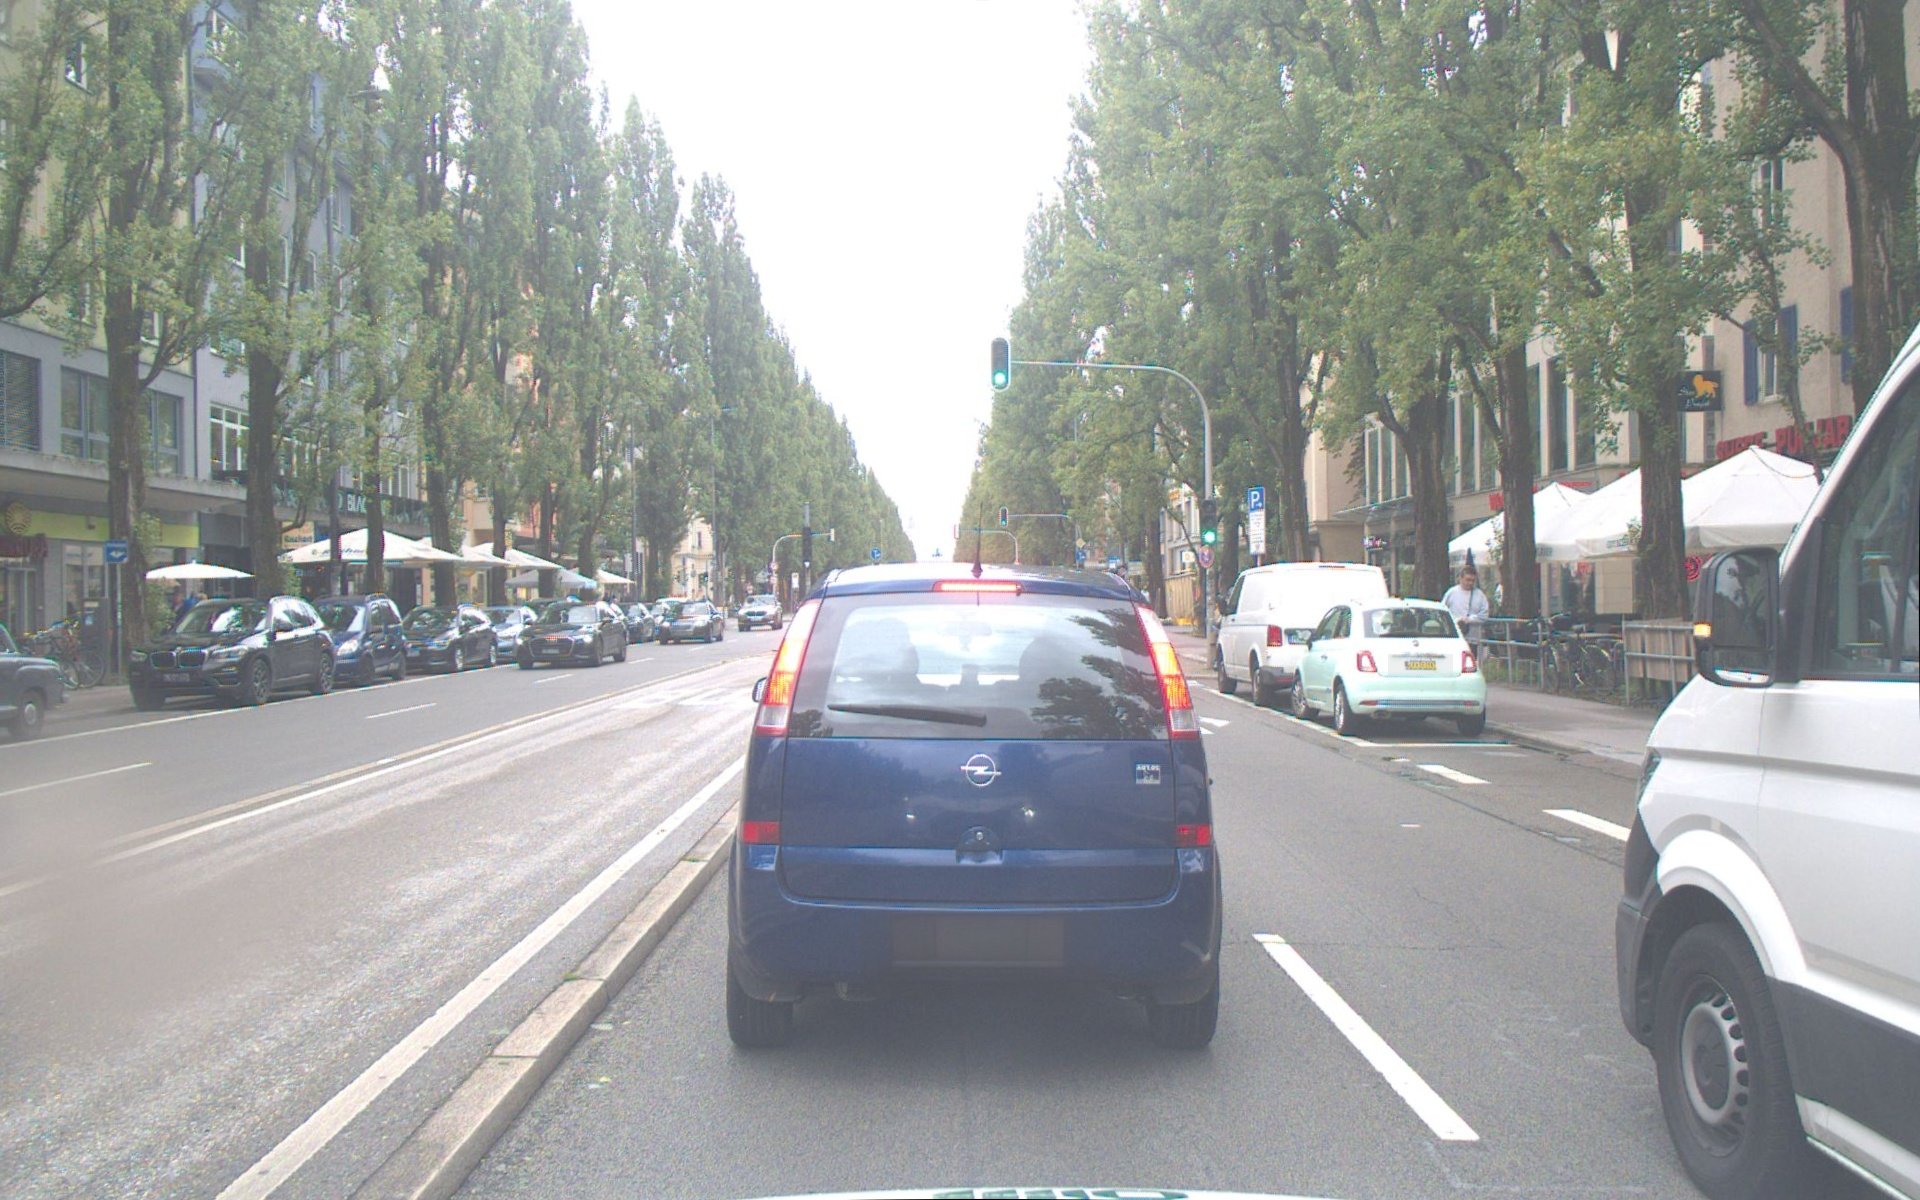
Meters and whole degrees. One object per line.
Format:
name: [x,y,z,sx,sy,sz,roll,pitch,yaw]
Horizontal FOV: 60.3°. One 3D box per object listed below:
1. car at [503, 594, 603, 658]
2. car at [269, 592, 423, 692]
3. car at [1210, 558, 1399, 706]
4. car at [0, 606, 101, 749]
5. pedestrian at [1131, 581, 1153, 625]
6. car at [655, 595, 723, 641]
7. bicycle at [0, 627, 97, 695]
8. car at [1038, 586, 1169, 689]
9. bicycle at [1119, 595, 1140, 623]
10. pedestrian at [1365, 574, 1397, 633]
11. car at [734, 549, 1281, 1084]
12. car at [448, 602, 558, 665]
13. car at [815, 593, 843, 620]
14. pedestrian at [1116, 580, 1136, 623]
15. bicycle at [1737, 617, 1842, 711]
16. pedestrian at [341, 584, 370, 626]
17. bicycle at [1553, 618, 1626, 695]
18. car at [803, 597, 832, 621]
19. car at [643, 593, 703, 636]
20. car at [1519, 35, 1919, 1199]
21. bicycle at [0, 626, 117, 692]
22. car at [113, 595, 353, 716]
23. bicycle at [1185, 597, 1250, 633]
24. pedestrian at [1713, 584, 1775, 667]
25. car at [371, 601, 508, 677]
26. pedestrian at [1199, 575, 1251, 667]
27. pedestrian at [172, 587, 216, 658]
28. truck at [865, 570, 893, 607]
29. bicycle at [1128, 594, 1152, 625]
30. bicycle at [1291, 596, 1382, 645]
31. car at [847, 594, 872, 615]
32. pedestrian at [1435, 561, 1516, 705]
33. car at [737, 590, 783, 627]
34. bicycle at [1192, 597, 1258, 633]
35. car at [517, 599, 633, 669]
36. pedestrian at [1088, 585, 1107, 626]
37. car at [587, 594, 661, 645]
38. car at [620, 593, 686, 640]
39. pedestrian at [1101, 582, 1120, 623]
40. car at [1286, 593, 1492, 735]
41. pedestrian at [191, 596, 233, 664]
car: [-11.900,0.722,48.638,1.828,1.694,4.400,-2,0,-1]
car: [-11.824,0.764,32.115,1.676,1.751,3.919,-2,0,-4]
car: [4.987,0.414,24.584,1.751,1.980,4.729,0,0,-1]
car: [-11.621,0.909,18.381,1.828,1.579,4.413,-2,0,-1]
pedestrian: [7.934,0.132,72.067,0.707,1.859,0.885,1,-1,-11]
car: [-9.400,0.593,57.606,1.710,1.459,4.129,-2,0,-1]
bicycle: [-16.107,1.050,28.635,1.909,1.114,0.718,2,0,-7]
car: [2.387,0.588,28.342,1.858,1.650,3.999,0,0,-1]
bicycle: [8.310,0.423,81.164,0.757,1.372,2.449,-1,0,-1]
pedestrian: [12.508,0.105,49.183,0.660,1.715,0.758,-1,-1,-5]
car: [0.125,0.637,6.948,1.637,1.596,3.999,0,0,-1]
car: [-11.798,0.839,42.952,1.698,1.450,4.142,-2,0,-1]
car: [-10.429,0.492,131.658,1.953,2.049,3.999,-1,0,-1]
pedestrian: [7.213,0.054,71.926,0.625,1.859,0.885,1,-1,-11]
bicycle: [9.487,0.715,18.955,0.342,1.013,1.453,-2,0,-4]
pedestrian: [-20.884,0.187,57.168,0.750,1.434,0.799,1,-1,-6]
bicycle: [8.790,0.774,23.137,0.342,1.013,1.453,-2,0,-4]
car: [-10.364,0.622,120.658,1.828,1.695,4.119,-1,0,-1]
car: [-12.237,0.601,70.664,1.828,1.694,4.119,-2,0,-1]
car: [2.767,0.248,1.767,2.021,2.536,6.729,0,0,-1]
bicycle: [-16.179,1.045,29.464,1.909,1.114,0.718,2,0,-7]
car: [-11.576,0.807,26.711,1.828,1.693,4.610,-2,0,-1]
bicycle: [9.166,0.518,58.916,2.182,1.225,0.626,-1,0,-3]
pedestrian: [13.030,0.413,27.519,0.625,1.347,0.800,-1,0,-1]
car: [-11.751,0.837,37.629,1.762,1.514,4.349,-2,0,-1]
pedestrian: [5.048,0.392,31.549,0.843,1.714,0.626,-1,0,-4]
pedestrian: [-19.011,0.561,41.068,0.740,1.715,0.675,-1,-1,0]
truck: [-7.547,-1.057,154.331,2.334,3.405,7.109,-1,0,-1]
bicycle: [8.174,0.423,75.347,0.757,1.372,2.449,-1,0,-1]
bicycle: [9.703,0.523,42.621,2.182,1.225,0.626,-1,0,-3]
car: [-7.591,0.345,124.825,1.699,1.491,3.364,-1,0,-1]
pedestrian: [6.605,0.418,21.228,0.810,1.804,0.871,-1,0,4]
car: [-9.475,0.379,78.622,1.735,1.663,4.454,-2,0,-2]
bicycle: [9.211,0.518,57.538,2.182,1.225,0.626,-1,0,-3]
car: [-9.077,0.762,39.367,1.663,1.488,4.712,-2,0,-1]
pedestrian: [6.311,0.269,76.060,0.625,1.859,0.885,1,-1,-11]
car: [-12.110,0.661,59.878,1.828,1.694,4.119,-2,0,-1]
car: [-12.091,0.616,65.405,1.828,1.694,4.119,-2,0,-1]
pedestrian: [6.936,0.117,76.230,0.625,1.859,0.885,1,-1,-11]
car: [4.947,0.683,19.489,1.509,1.518,3.523,0,0,0]
pedestrian: [-19.268,0.760,42.604,0.740,1.715,0.675,-1,-1,0]
